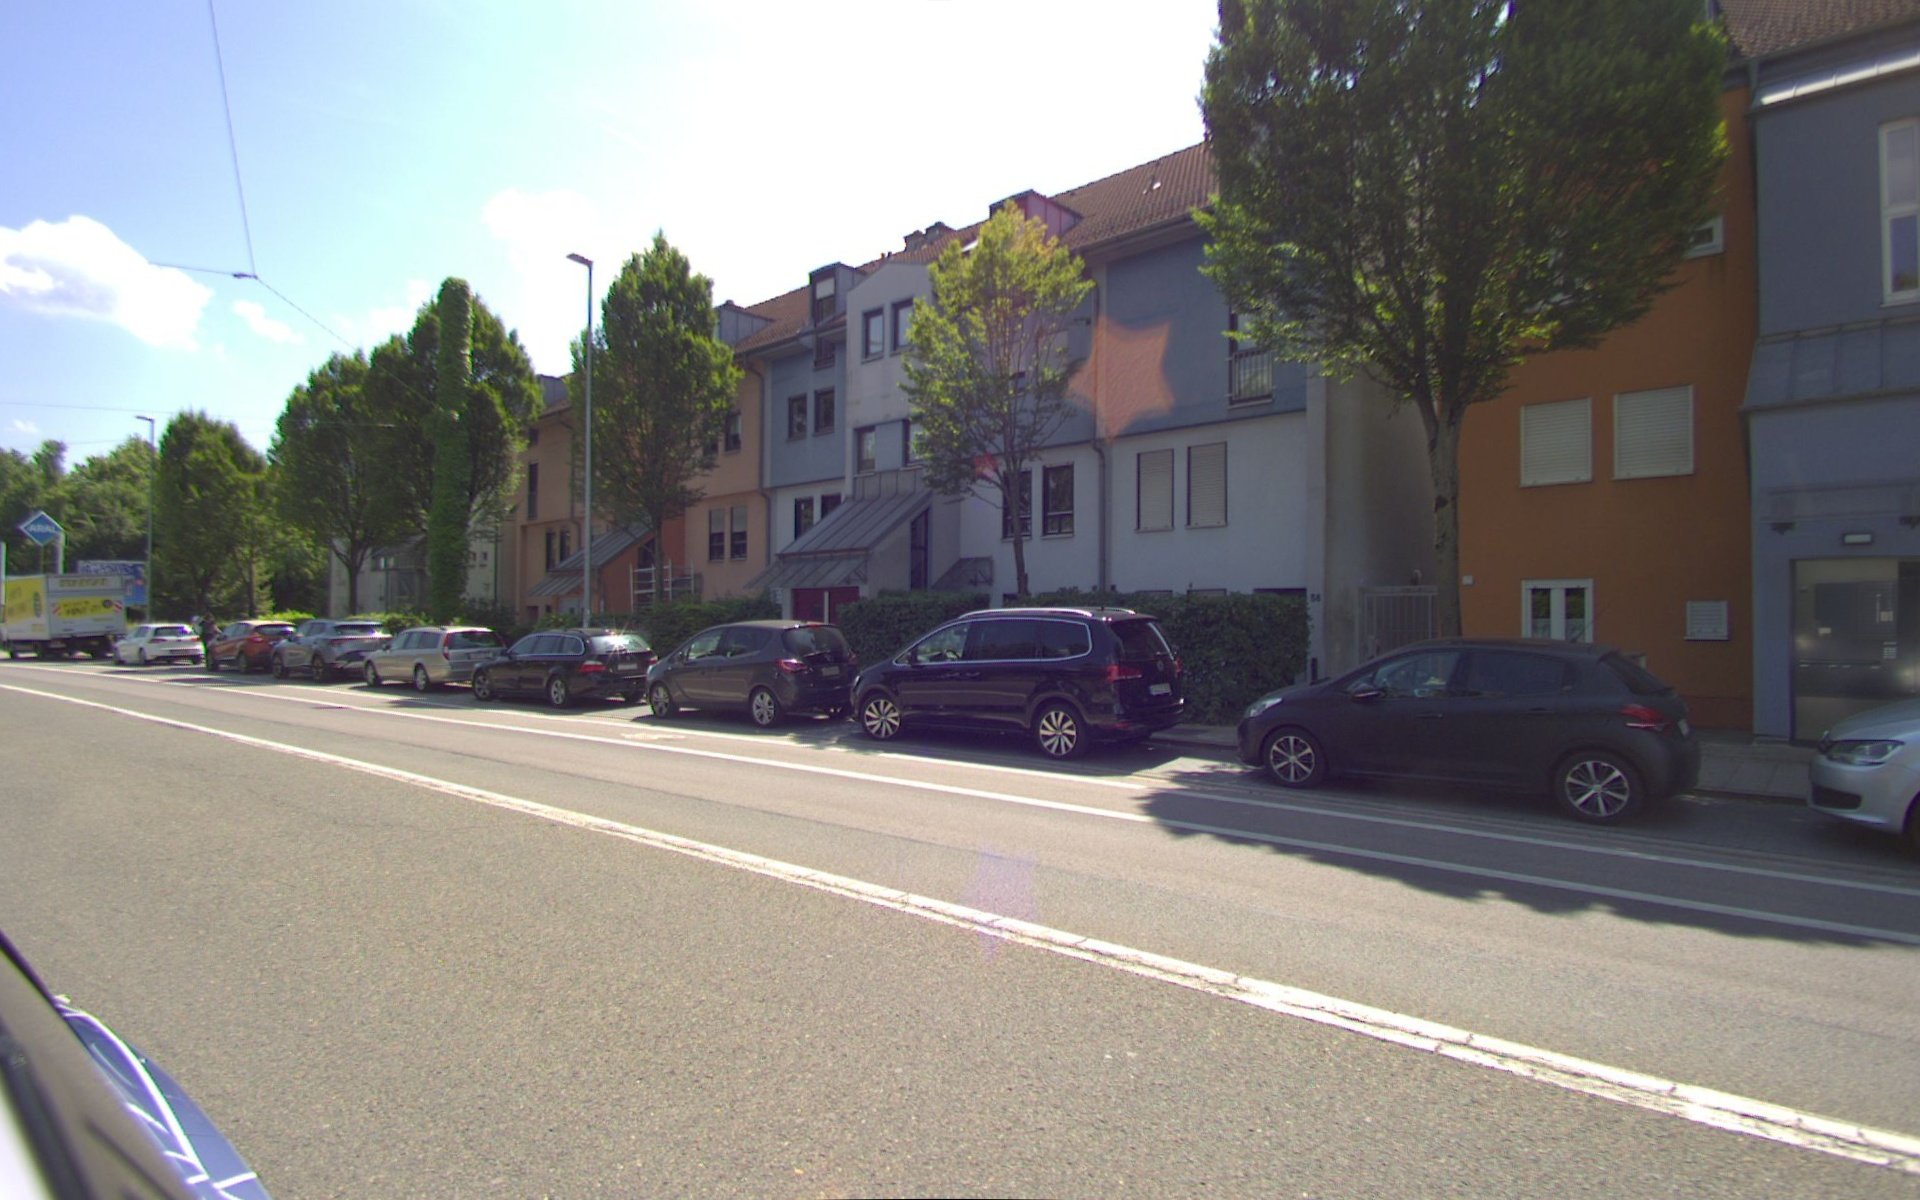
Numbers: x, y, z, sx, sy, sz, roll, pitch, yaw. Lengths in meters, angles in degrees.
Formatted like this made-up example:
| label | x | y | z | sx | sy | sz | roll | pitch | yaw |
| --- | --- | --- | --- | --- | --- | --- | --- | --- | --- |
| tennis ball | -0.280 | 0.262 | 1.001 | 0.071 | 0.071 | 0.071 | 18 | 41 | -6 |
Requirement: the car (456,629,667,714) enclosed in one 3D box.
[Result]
| label | x | y | z | sx | sy | sz | roll | pitch | yaw |
| --- | --- | --- | --- | --- | --- | --- | --- | --- | --- |
| car | -8.115 | 1.352 | 20.374 | 4.958 | 1.457 | 1.725 | -1 | 0 | 39 |

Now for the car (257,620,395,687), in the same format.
| label | x | y | z | sx | sy | sz | roll | pitch | yaw |
| --- | --- | --- | --- | --- | --- | --- | --- | --- | --- |
| car | -17.336 | 1.412 | 27.586 | 4.680 | 1.621 | 1.640 | -1 | 0 | 38 |

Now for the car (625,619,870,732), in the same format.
| label | x | y | z | sx | sy | sz | roll | pitch | yaw |
| --- | --- | --- | --- | --- | --- | --- | --- | --- | --- |
| car | -3.583 | 1.146 | 16.641 | 4.282 | 1.630 | 1.639 | -1 | -2 | 40 |

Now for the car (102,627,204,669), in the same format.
| label | x | y | z | sx | sy | sz | roll | pitch | yaw |
| --- | --- | --- | --- | --- | --- | --- | --- | --- | --- |
| car | -28.781 | 1.686 | 36.062 | 4.386 | 1.421 | 1.641 | -1 | -2 | 34 |

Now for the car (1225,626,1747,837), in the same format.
| label | x | y | z | sx | sy | sz | roll | pitch | yaw |
| --- | --- | --- | --- | --- | --- | --- | --- | --- | --- |
| car | 4.724 | 1.026 | 9.434 | 4.084 | 1.482 | 1.582 | 0 | -1 | 40 |

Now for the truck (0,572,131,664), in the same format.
| label | x | y | z | sx | sy | sz | roll | pitch | yaw |
| --- | --- | --- | --- | --- | --- | --- | --- | --- | --- |
| truck | -38.496 | 0.747 | 43.033 | 8.150 | 3.575 | 2.808 | -1 | 0 | 35 |

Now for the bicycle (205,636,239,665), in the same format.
| label | x | y | z | sx | sy | sz | roll | pitch | yaw |
| --- | --- | --- | --- | --- | --- | --- | --- | --- | --- |
| bicycle | -28.743 | 1.953 | 39.422 | 1.659 | 1.134 | 0.453 | -1 | -2 | 31 |

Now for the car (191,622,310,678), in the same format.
| label | x | y | z | sx | sy | sz | roll | pitch | yaw |
| --- | --- | --- | --- | --- | --- | --- | --- | --- | --- |
| car | -21.875 | 1.496 | 31.142 | 4.163 | 1.622 | 1.641 | -1 | -2 | 34 |

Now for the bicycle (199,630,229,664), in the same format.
| label | x | y | z | sx | sy | sz | roll | pitch | yaw |
| --- | --- | --- | --- | --- | --- | --- | --- | --- | --- |
| bicycle | -29.716 | 1.859 | 40.313 | 1.662 | 1.326 | 0.452 | -1 | -3 | 36 |

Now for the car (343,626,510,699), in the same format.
| label | x | y | z | sx | sy | sz | roll | pitch | yaw |
| --- | --- | --- | --- | --- | --- | --- | --- | --- | --- |
| car | -12.867 | 1.416 | 24.296 | 4.888 | 1.519 | 1.640 | 0 | 0 | 37 |

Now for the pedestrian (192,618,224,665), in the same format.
| label | x | y | z | sx | sy | sz | roll | pitch | yaw |
| --- | --- | --- | --- | --- | --- | --- | --- | --- | --- |
| pedestrian | -29.162 | 1.619 | 39.237 | 0.696 | 1.809 | 0.682 | 0 | -2 | 8 |

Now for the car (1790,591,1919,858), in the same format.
| label | x | y | z | sx | sy | sz | roll | pitch | yaw |
| --- | --- | --- | --- | --- | --- | --- | --- | --- | --- |
| car | 8.210 | 0.823 | 6.081 | 4.904 | 1.765 | 1.698 | 0 | 0 | 43 |

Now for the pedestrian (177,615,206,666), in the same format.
| label | x | y | z | sx | sy | sz | roll | pitch | yaw |
| --- | --- | --- | --- | --- | --- | --- | --- | --- | --- |
| pedestrian | -29.944 | 1.575 | 39.431 | 0.633 | 1.937 | 0.710 | 1 | -2 | -13 |

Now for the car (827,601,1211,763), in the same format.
| label | x | y | z | sx | sy | sz | roll | pitch | yaw |
| --- | --- | --- | --- | --- | --- | --- | --- | --- | --- |
| car | 0.582 | 0.944 | 13.028 | 4.884 | 1.729 | 1.733 | -2 | -3 | 40 |
